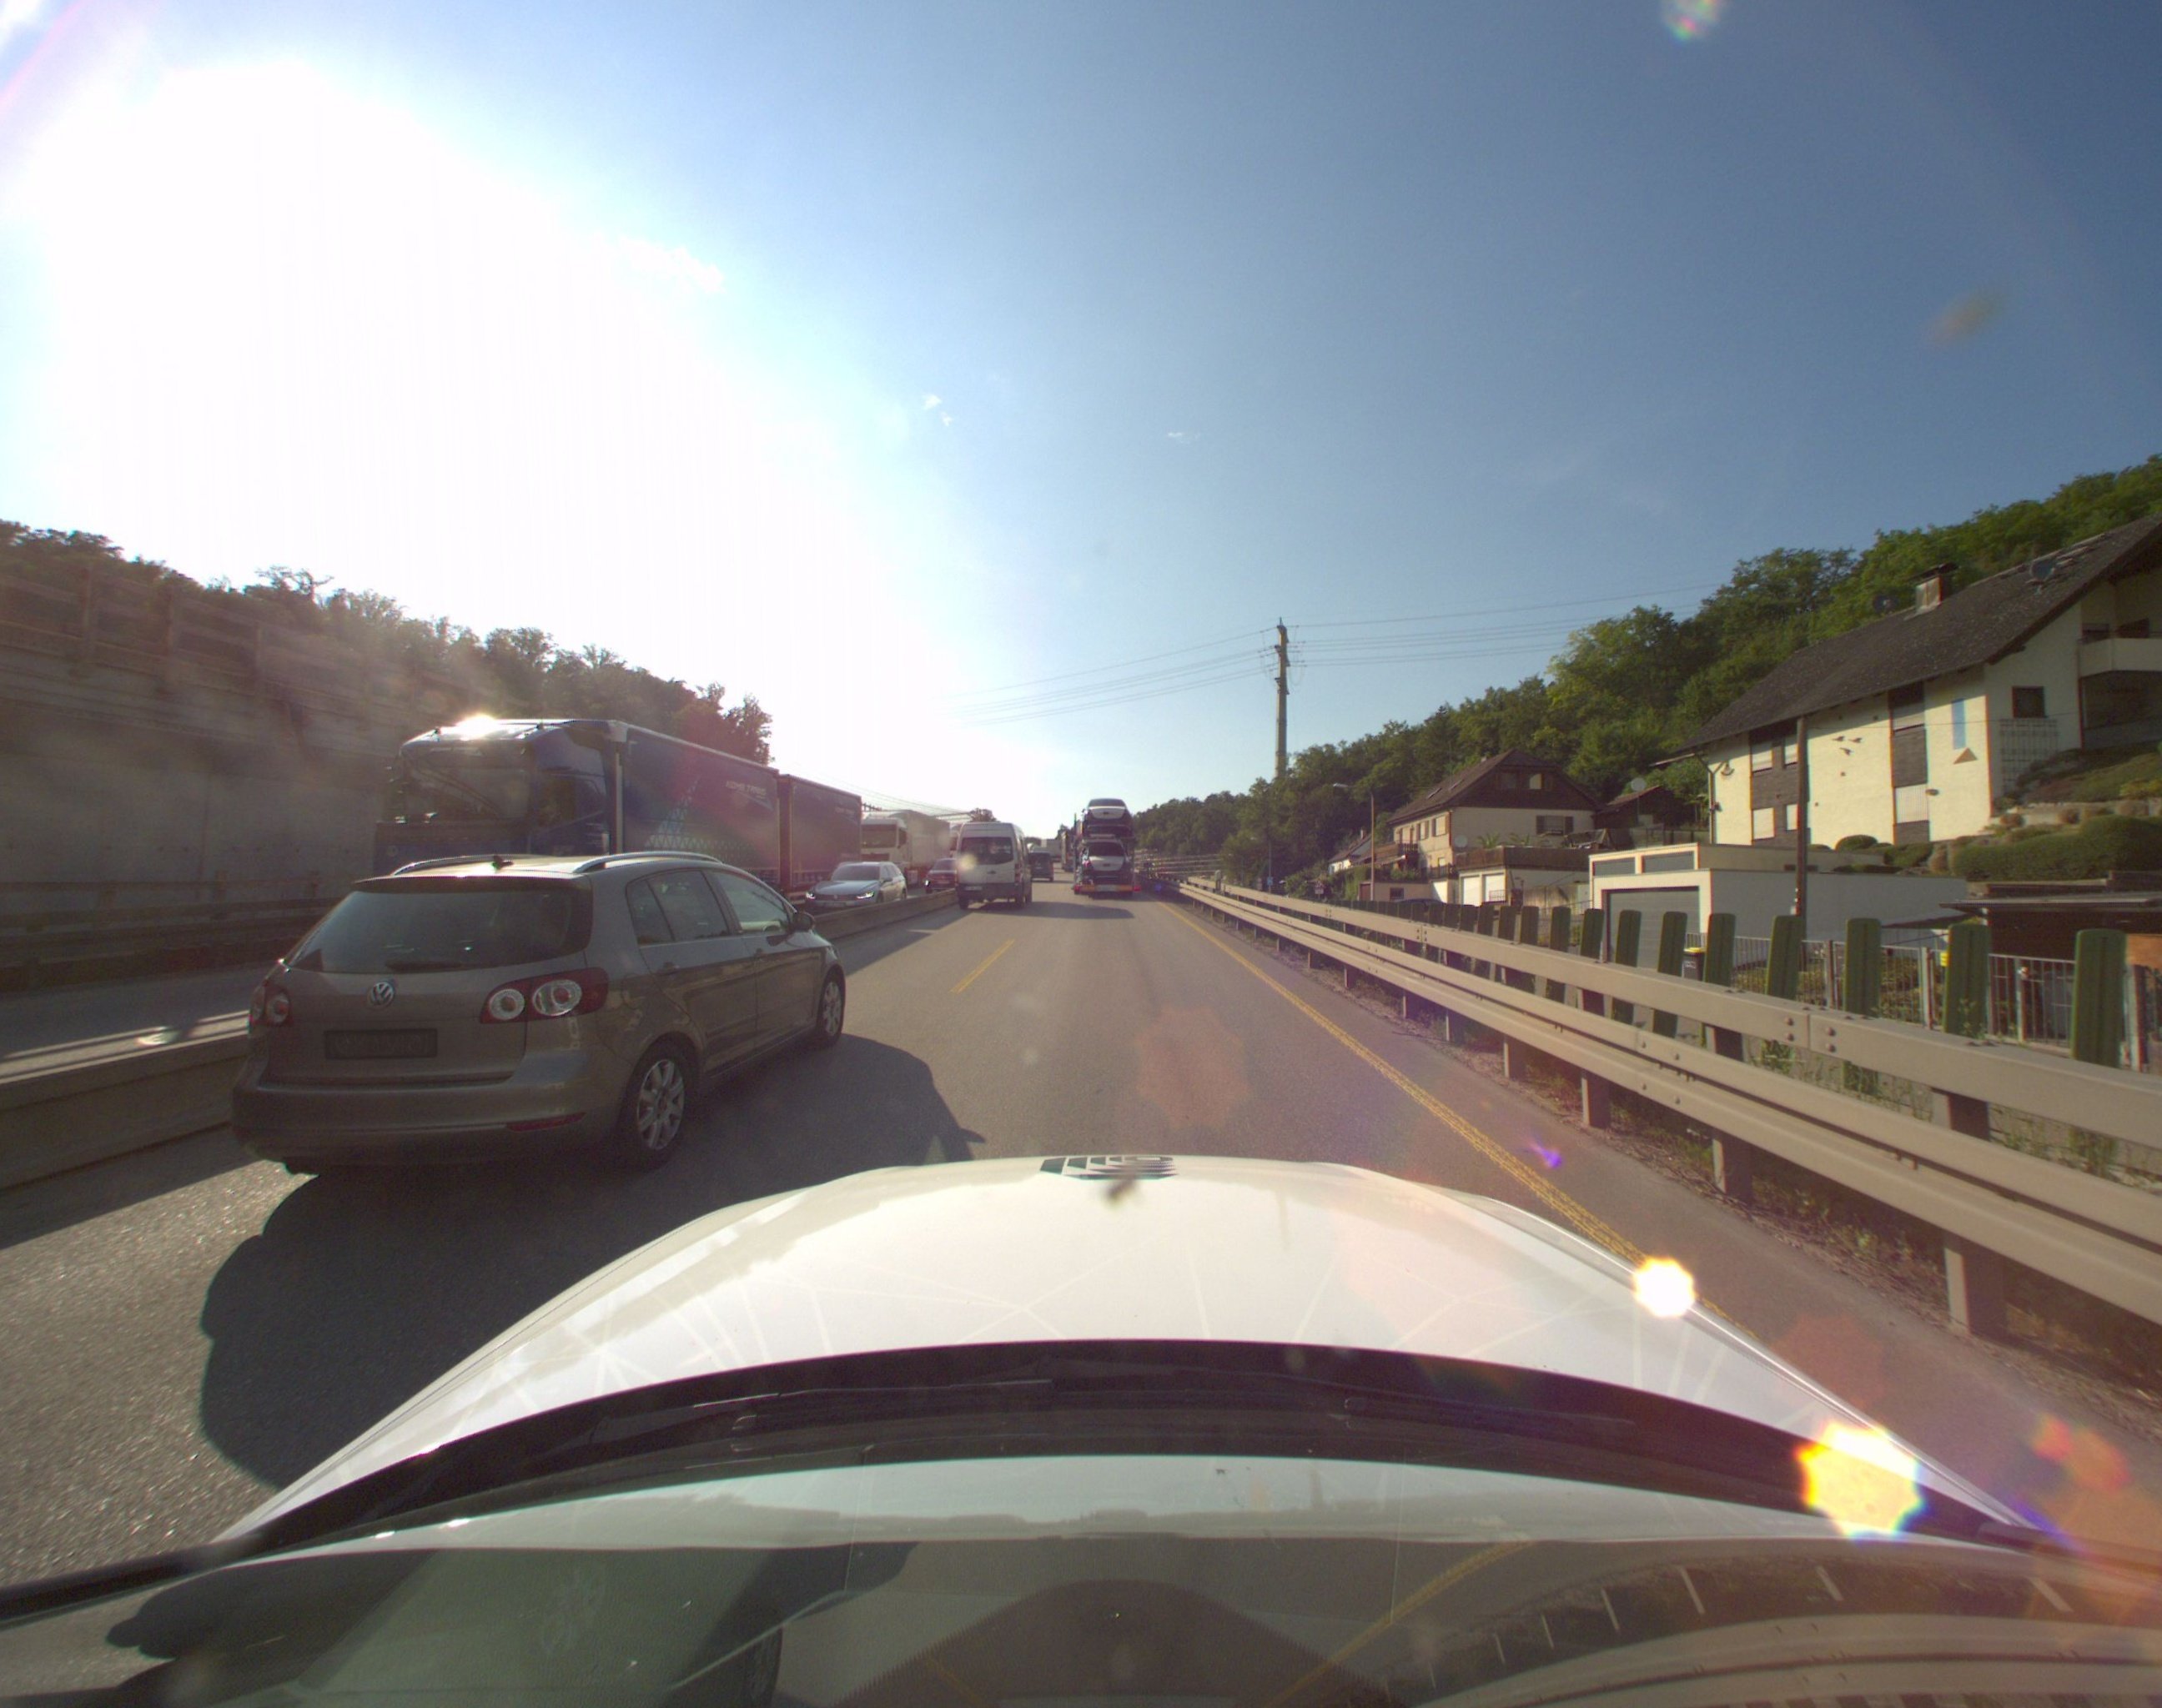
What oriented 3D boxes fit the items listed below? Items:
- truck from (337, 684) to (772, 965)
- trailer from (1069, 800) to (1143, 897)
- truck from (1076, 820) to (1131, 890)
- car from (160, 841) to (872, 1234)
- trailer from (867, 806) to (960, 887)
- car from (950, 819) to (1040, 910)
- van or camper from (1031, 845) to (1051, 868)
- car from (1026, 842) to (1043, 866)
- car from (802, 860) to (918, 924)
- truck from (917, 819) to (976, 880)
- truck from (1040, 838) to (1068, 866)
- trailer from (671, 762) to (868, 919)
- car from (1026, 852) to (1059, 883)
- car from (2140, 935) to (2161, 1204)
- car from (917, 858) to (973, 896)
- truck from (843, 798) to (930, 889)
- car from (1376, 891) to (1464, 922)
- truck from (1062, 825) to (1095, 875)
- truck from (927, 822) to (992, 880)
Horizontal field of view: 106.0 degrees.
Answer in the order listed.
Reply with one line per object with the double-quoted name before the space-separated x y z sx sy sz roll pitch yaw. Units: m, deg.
"truck" -9.584 -0.409 16.809 2.615 4.113 9.627 -1 0 0
"trailer" 1.131 -0.037 37.627 2.673 3.535 15.291 -1 -1 1
"truck" 1.123 0.131 45.207 2.675 3.535 7.189 -1 -1 -1
"car" -2.856 0.736 5.456 1.674 1.588 4.274 0 0 2
"trailer" -9.636 -0.244 48.619 2.701 4.093 12.565 3 -1 0
"car" -2.666 0.328 26.703 1.985 2.648 5.534 2 0 3
"van or camper" -4.724 0.354 96.601 1.962 2.592 5.039 3 -1 -1
"car" -10.676 0.006 185.652 3.439 5.035 9.636 3 -1 -5
"car" -5.898 1.001 22.299 1.765 1.537 4.404 1 -1 2
"truck" -9.832 -0.274 60.248 2.974 4.153 7.389 3 -1 -1
"truck" -4.780 -0.290 143.075 4.060 4.679 10.570 2 -1 -6
"trailer" -9.553 -0.342 26.475 2.597 4.112 9.626 -1 0 0
"car" -2.533 0.951 54.786 1.802 1.904 4.000 3 -2 1
"car" 7.443 1.272 2.806 1.690 1.659 4.651 1 -2 3
"car" -6.056 1.016 36.610 1.655 1.530 4.000 3 -1 1
"truck" -9.658 -0.427 41.190 2.701 4.093 6.202 3 -1 0
"car" 18.326 2.854 44.130 3.973 1.442 1.891 3 -3 1
"truck" -0.229 -0.324 80.929 2.898 4.607 7.284 2 -1 0
"truck" -9.820 -0.160 67.913 2.973 4.153 15.848 3 -1 -1
